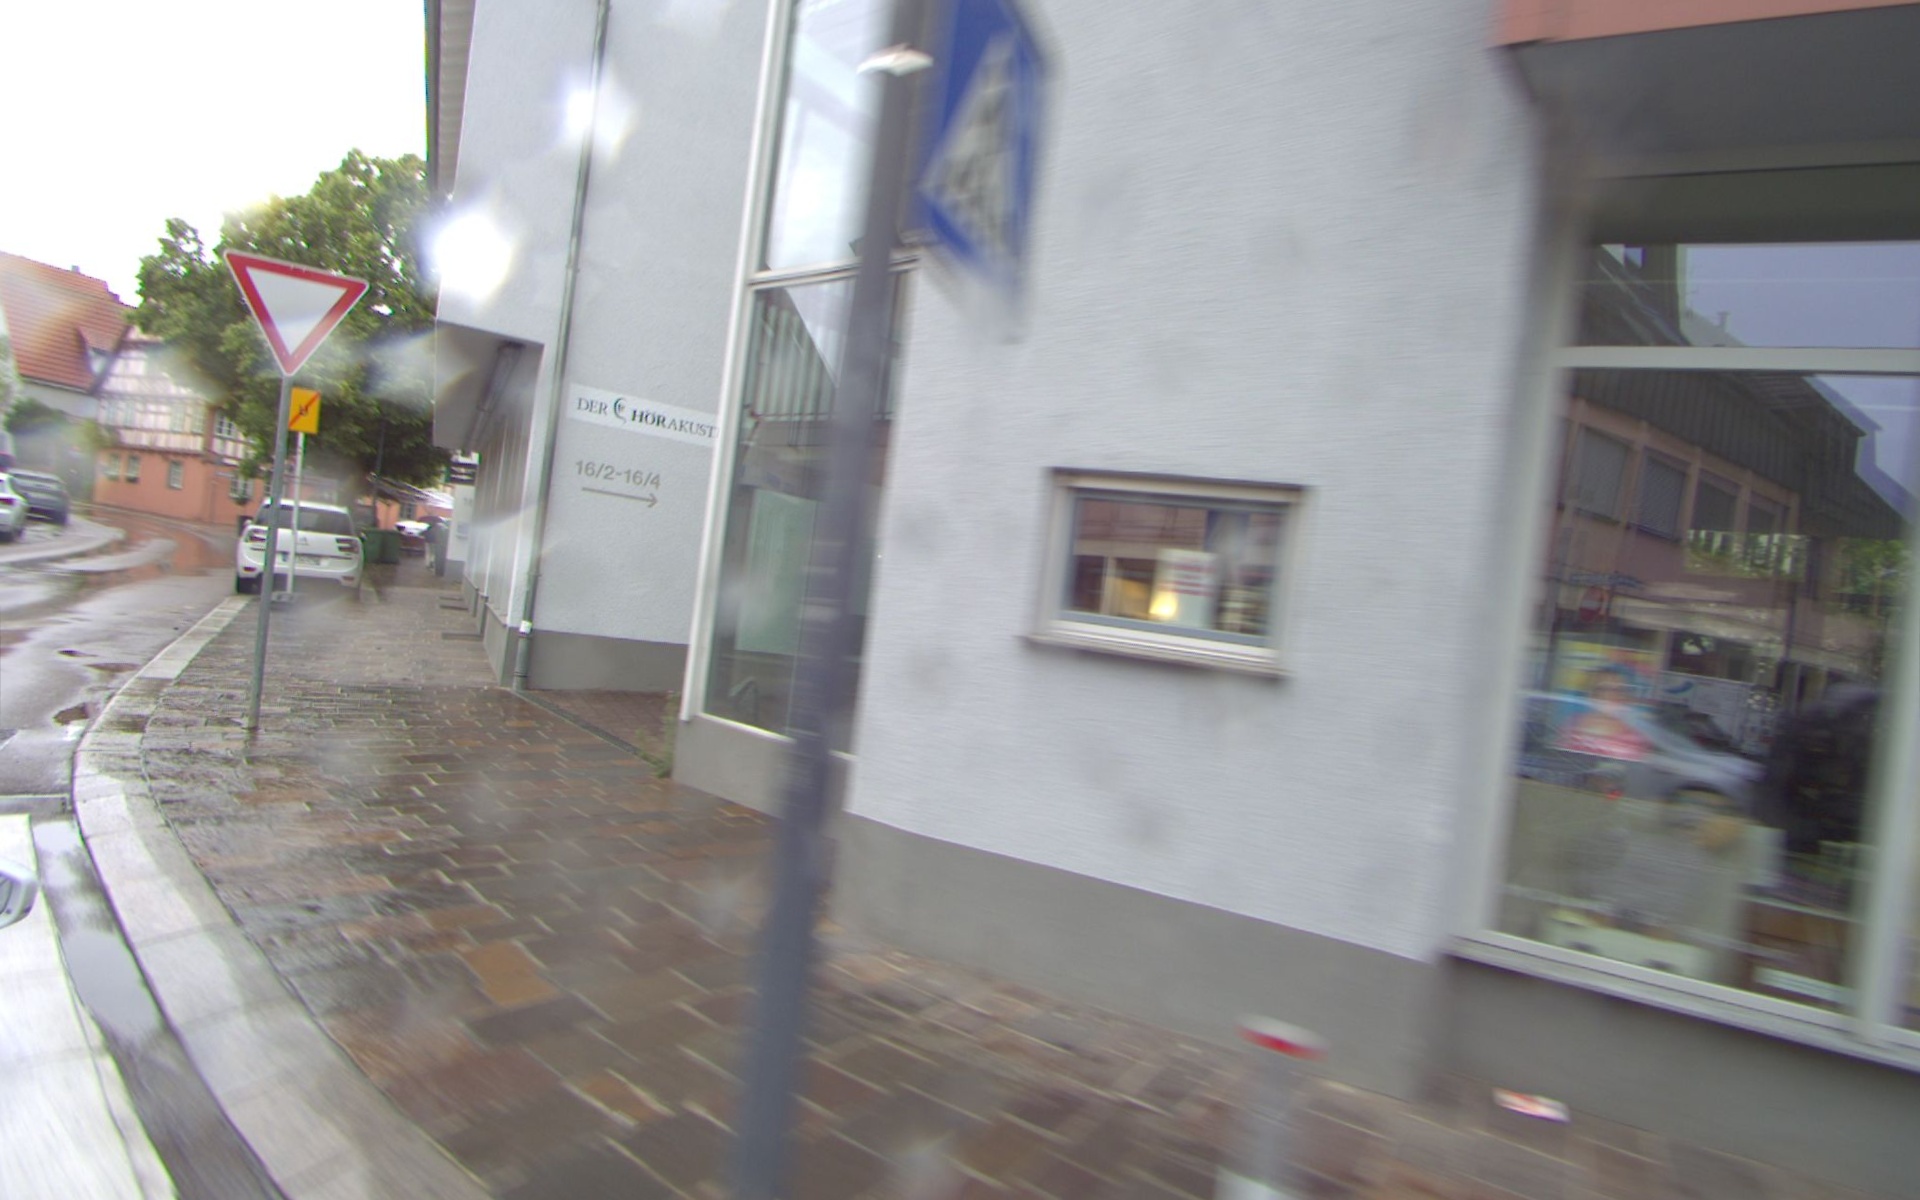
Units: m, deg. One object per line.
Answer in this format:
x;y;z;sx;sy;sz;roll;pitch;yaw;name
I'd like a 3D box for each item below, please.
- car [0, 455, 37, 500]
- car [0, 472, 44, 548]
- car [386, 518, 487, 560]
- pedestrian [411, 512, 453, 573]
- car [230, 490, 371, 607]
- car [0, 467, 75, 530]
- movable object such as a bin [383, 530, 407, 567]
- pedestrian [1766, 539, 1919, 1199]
-45.289;-5.930;46.896;3.929;1.832;1.900;9;-1;26;car
-22.003;-2.157;22.537;1.842;1.470;4.025;8;1;-40;car
-29.166;-3.369;56.199;1.964;1.654;4.611;10;2;25;car
-16.430;-1.775;31.318;0.875;1.733;0.886;7;-1;-20;pedestrian
-12.003;-0.908;18.344;1.777;1.658;4.401;8;-2;-34;car
-28.935;-3.133;31.188;4.344;1.558;1.871;6;-2;45;car
-18.001;-1.634;32.030;0.534;1.097;0.721;5;3;-34;movable object such as a bin
2.469;0.844;1.961;1.126;1.827;0.822;7;-1;27;pedestrian
